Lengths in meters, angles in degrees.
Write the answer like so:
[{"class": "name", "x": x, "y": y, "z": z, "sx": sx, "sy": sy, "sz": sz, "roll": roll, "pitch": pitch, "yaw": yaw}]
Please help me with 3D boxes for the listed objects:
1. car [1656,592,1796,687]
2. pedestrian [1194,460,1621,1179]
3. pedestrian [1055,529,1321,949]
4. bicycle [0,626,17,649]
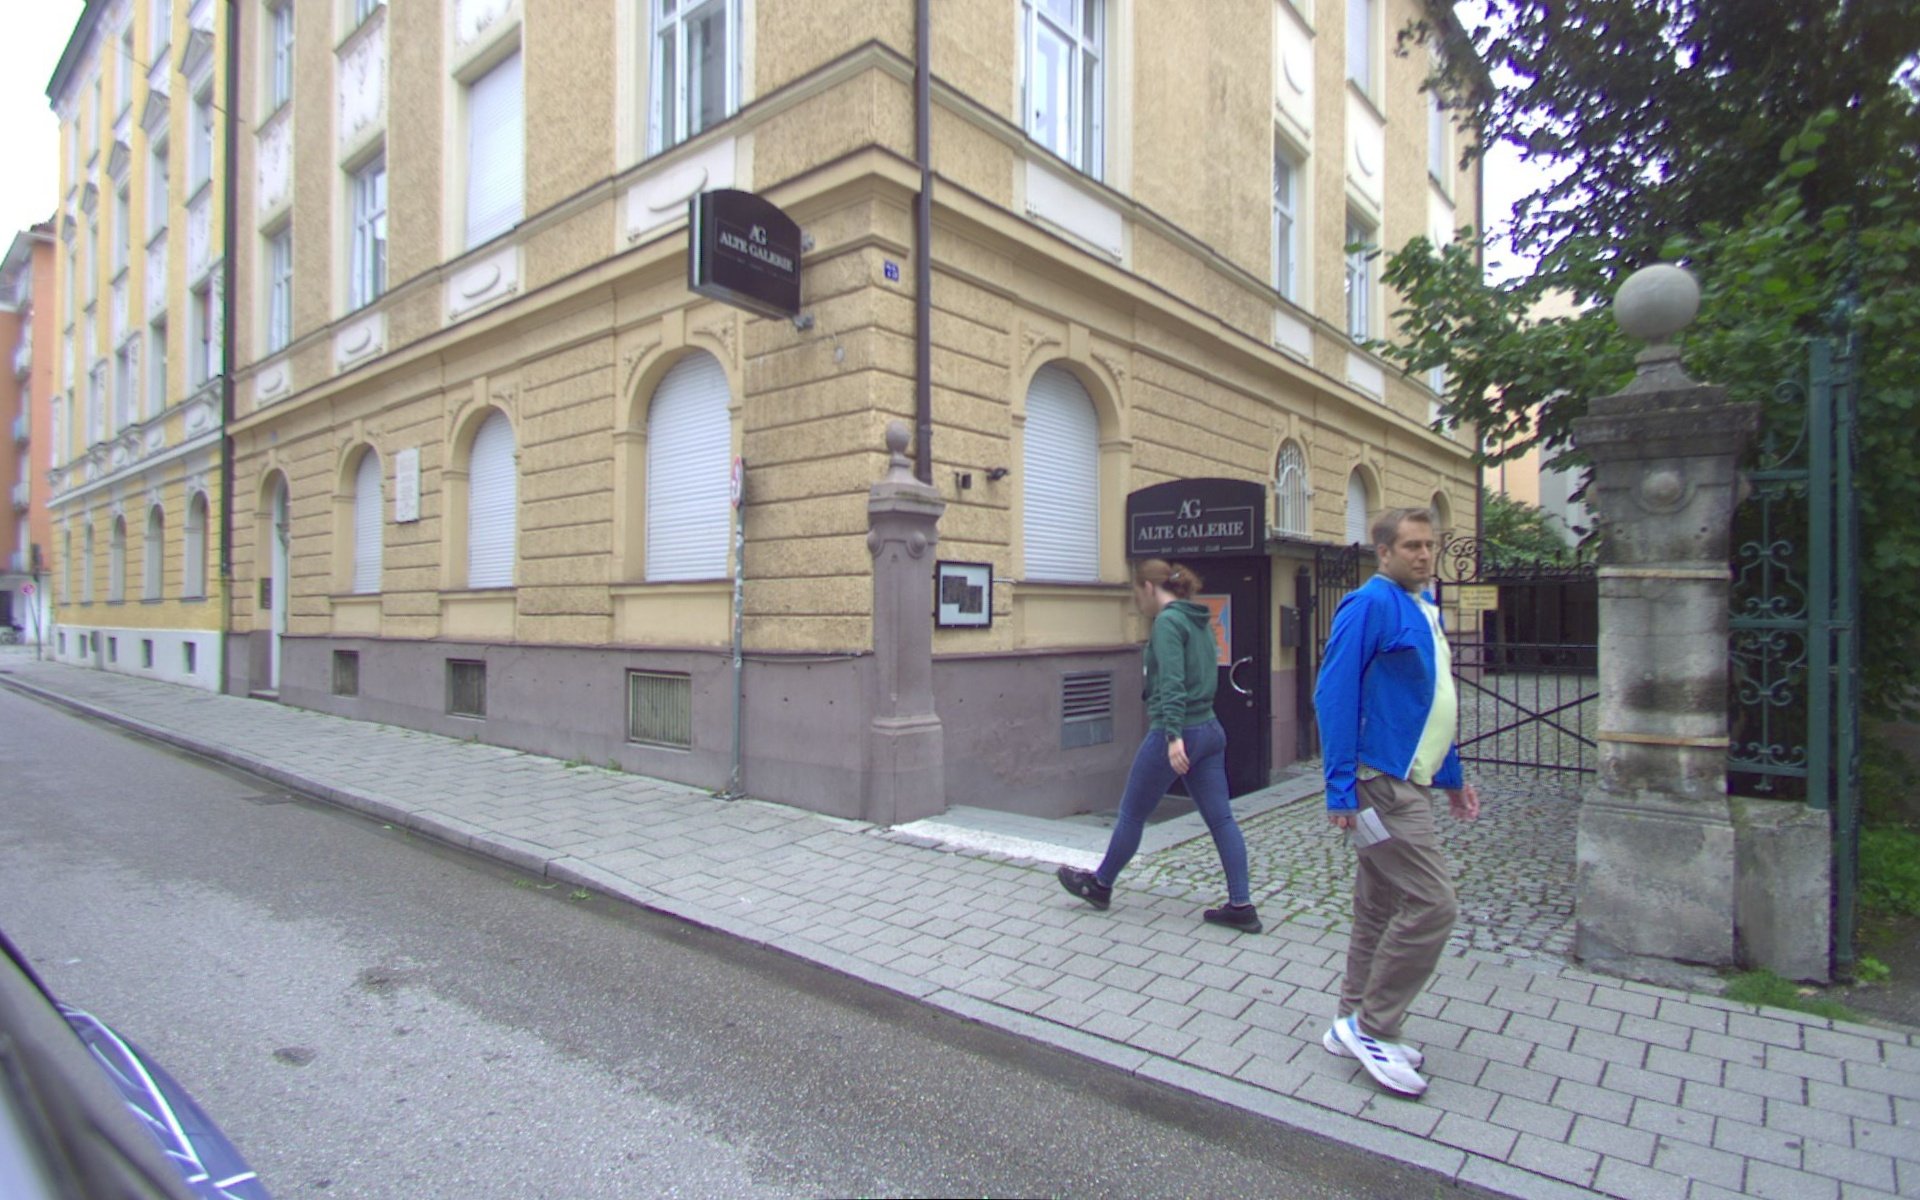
[{"class": "car", "x": 14.894, "y": 0.687, "z": 19.613, "sx": 3.677, "sy": 1.552, "sz": 1.635, "roll": -3, "pitch": 1, "yaw": -45}, {"class": "pedestrian", "x": 1.433, "y": 0.570, "z": 3.269, "sx": 1.076, "sy": 1.868, "sz": 0.749, "roll": -1, "pitch": 0, "yaw": 40}, {"class": "pedestrian", "x": 1.034, "y": 0.549, "z": 4.603, "sx": 0.929, "sy": 1.678, "sz": 0.705, "roll": -1, "pitch": 1, "yaw": 40}, {"class": "bicycle", "x": -39.338, "y": 1.535, "z": 41.789, "sx": 1.539, "sy": 0.944, "sz": 0.386, "roll": -1, "pitch": -2, "yaw": 41}]
